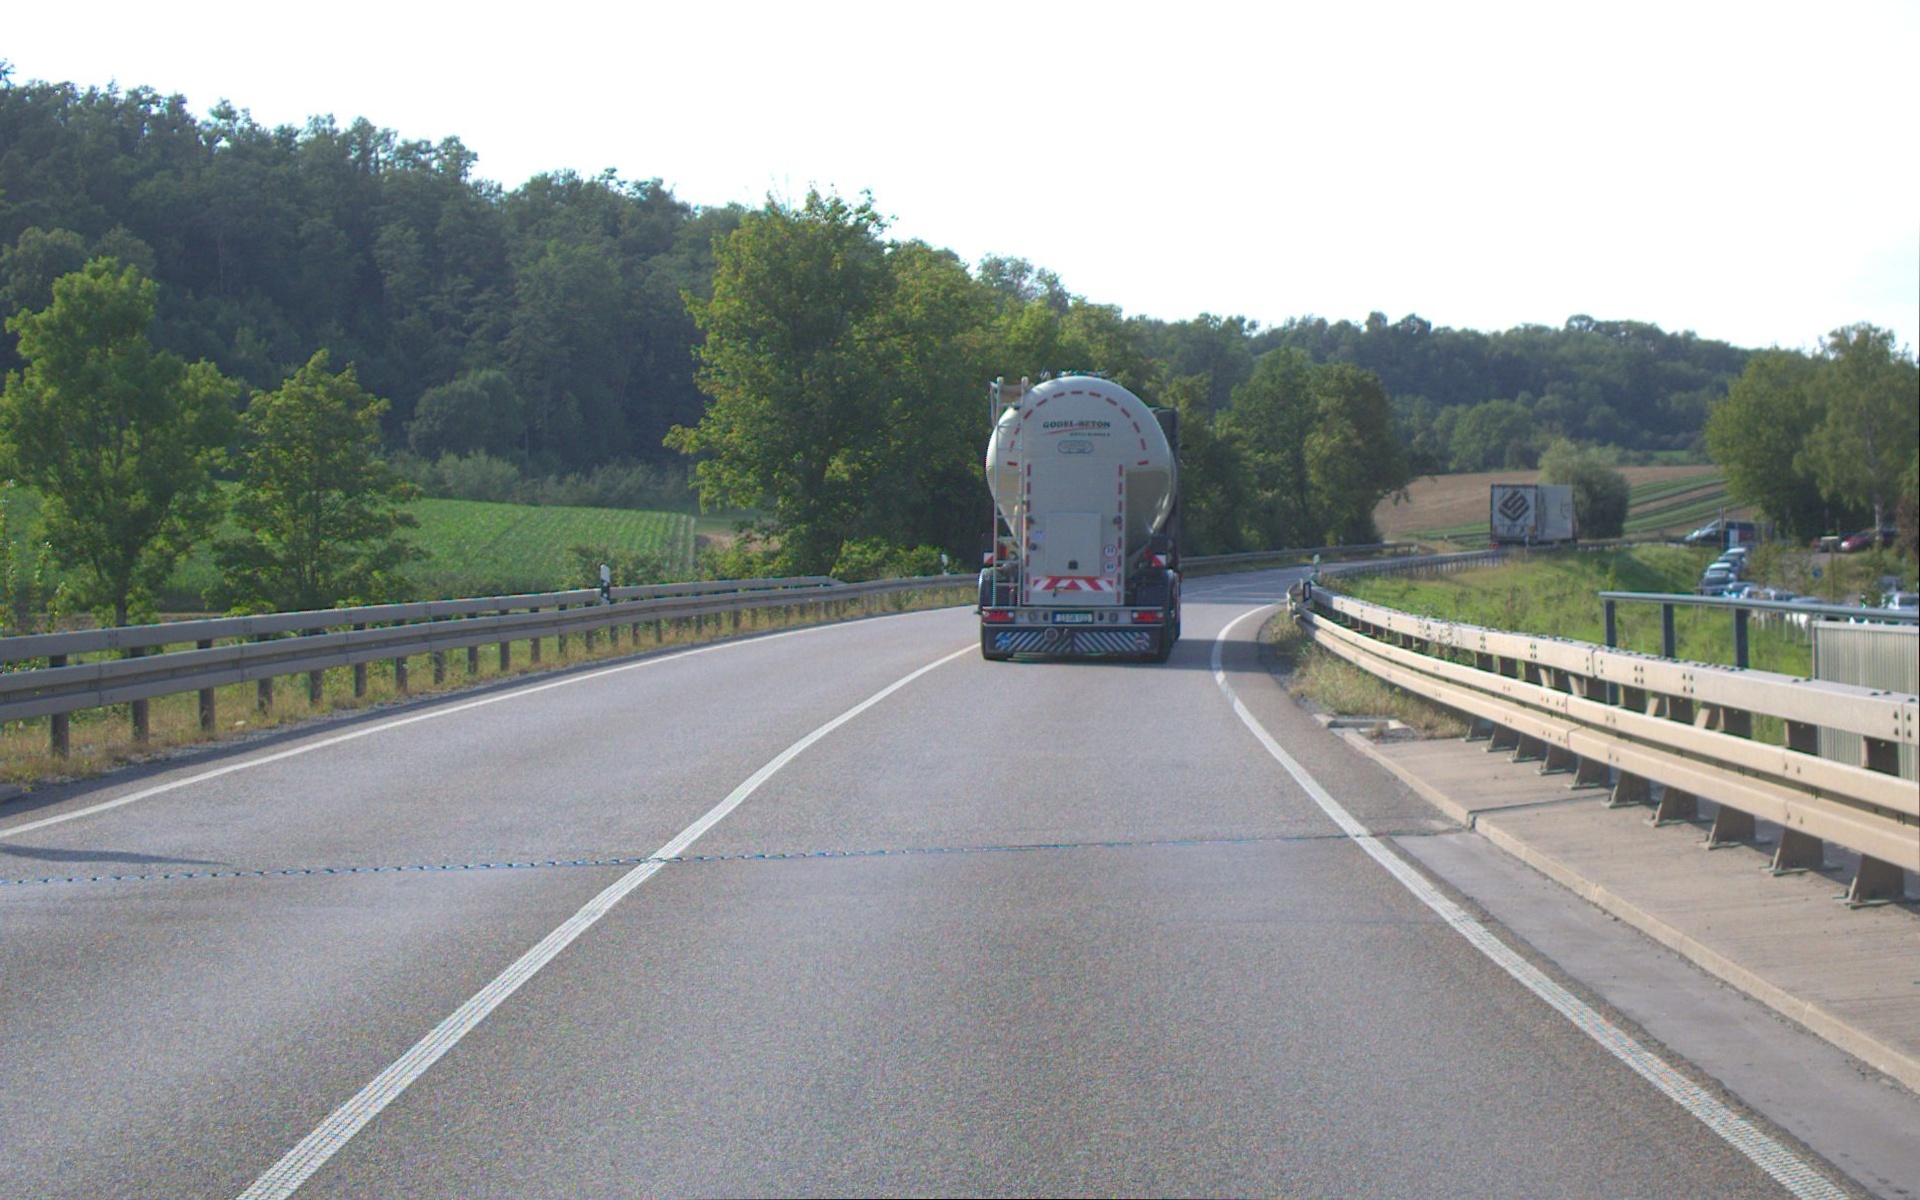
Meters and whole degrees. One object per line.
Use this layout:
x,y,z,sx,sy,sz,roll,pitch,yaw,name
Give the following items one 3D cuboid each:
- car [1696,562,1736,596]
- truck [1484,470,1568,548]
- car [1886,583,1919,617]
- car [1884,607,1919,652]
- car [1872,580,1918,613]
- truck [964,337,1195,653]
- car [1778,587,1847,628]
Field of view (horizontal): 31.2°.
42.360,-1.183,192.698,1.893,1.554,4.780,-3,3,15,car
32.452,-5.277,196.603,3.186,4.213,13.163,0,2,16,truck
45.101,0.002,163.086,1.701,1.505,3.944,-1,1,7,car
37.922,1.142,134.542,1.892,1.477,4.783,-4,2,-3,car
45.559,-0.187,167.519,1.701,1.394,3.944,-3,1,9,car
2.012,-1.462,51.676,2.893,4.128,13.170,0,1,4,truck
39.155,0.311,158.066,1.892,1.554,4.783,-4,2,0,car
